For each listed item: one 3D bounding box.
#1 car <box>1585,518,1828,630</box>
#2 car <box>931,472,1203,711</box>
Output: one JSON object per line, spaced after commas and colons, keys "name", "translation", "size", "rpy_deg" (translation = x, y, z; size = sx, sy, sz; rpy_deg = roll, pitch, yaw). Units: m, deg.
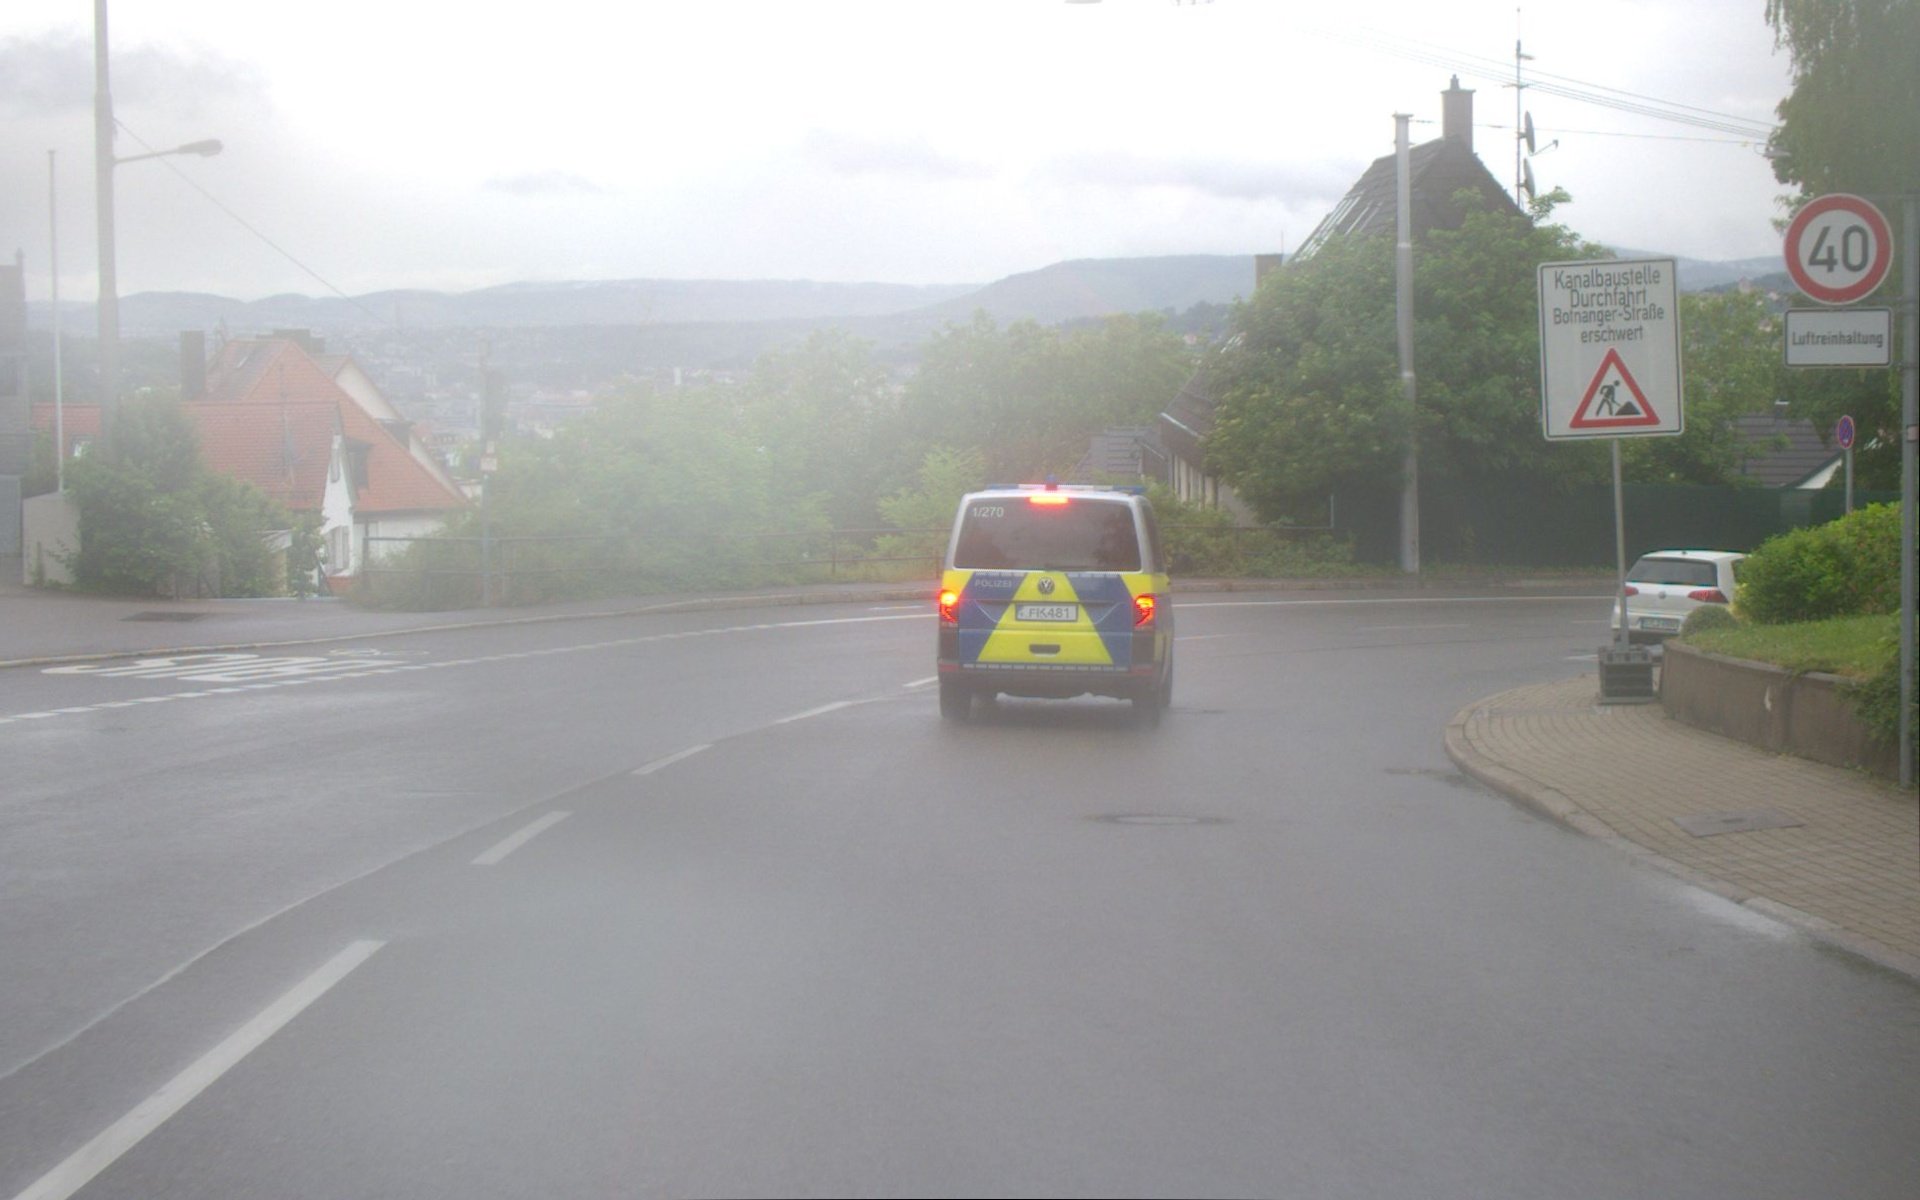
{"name": "car", "translation": [10.244, -0.377, 46.964], "size": [1.793, 1.441, 4.097], "rpy_deg": [2, 2, 35]}
{"name": "car", "translation": [1.015, -0.128, 29.836], "size": [1.994, 1.887, 4.569], "rpy_deg": [1, 2, 6]}
